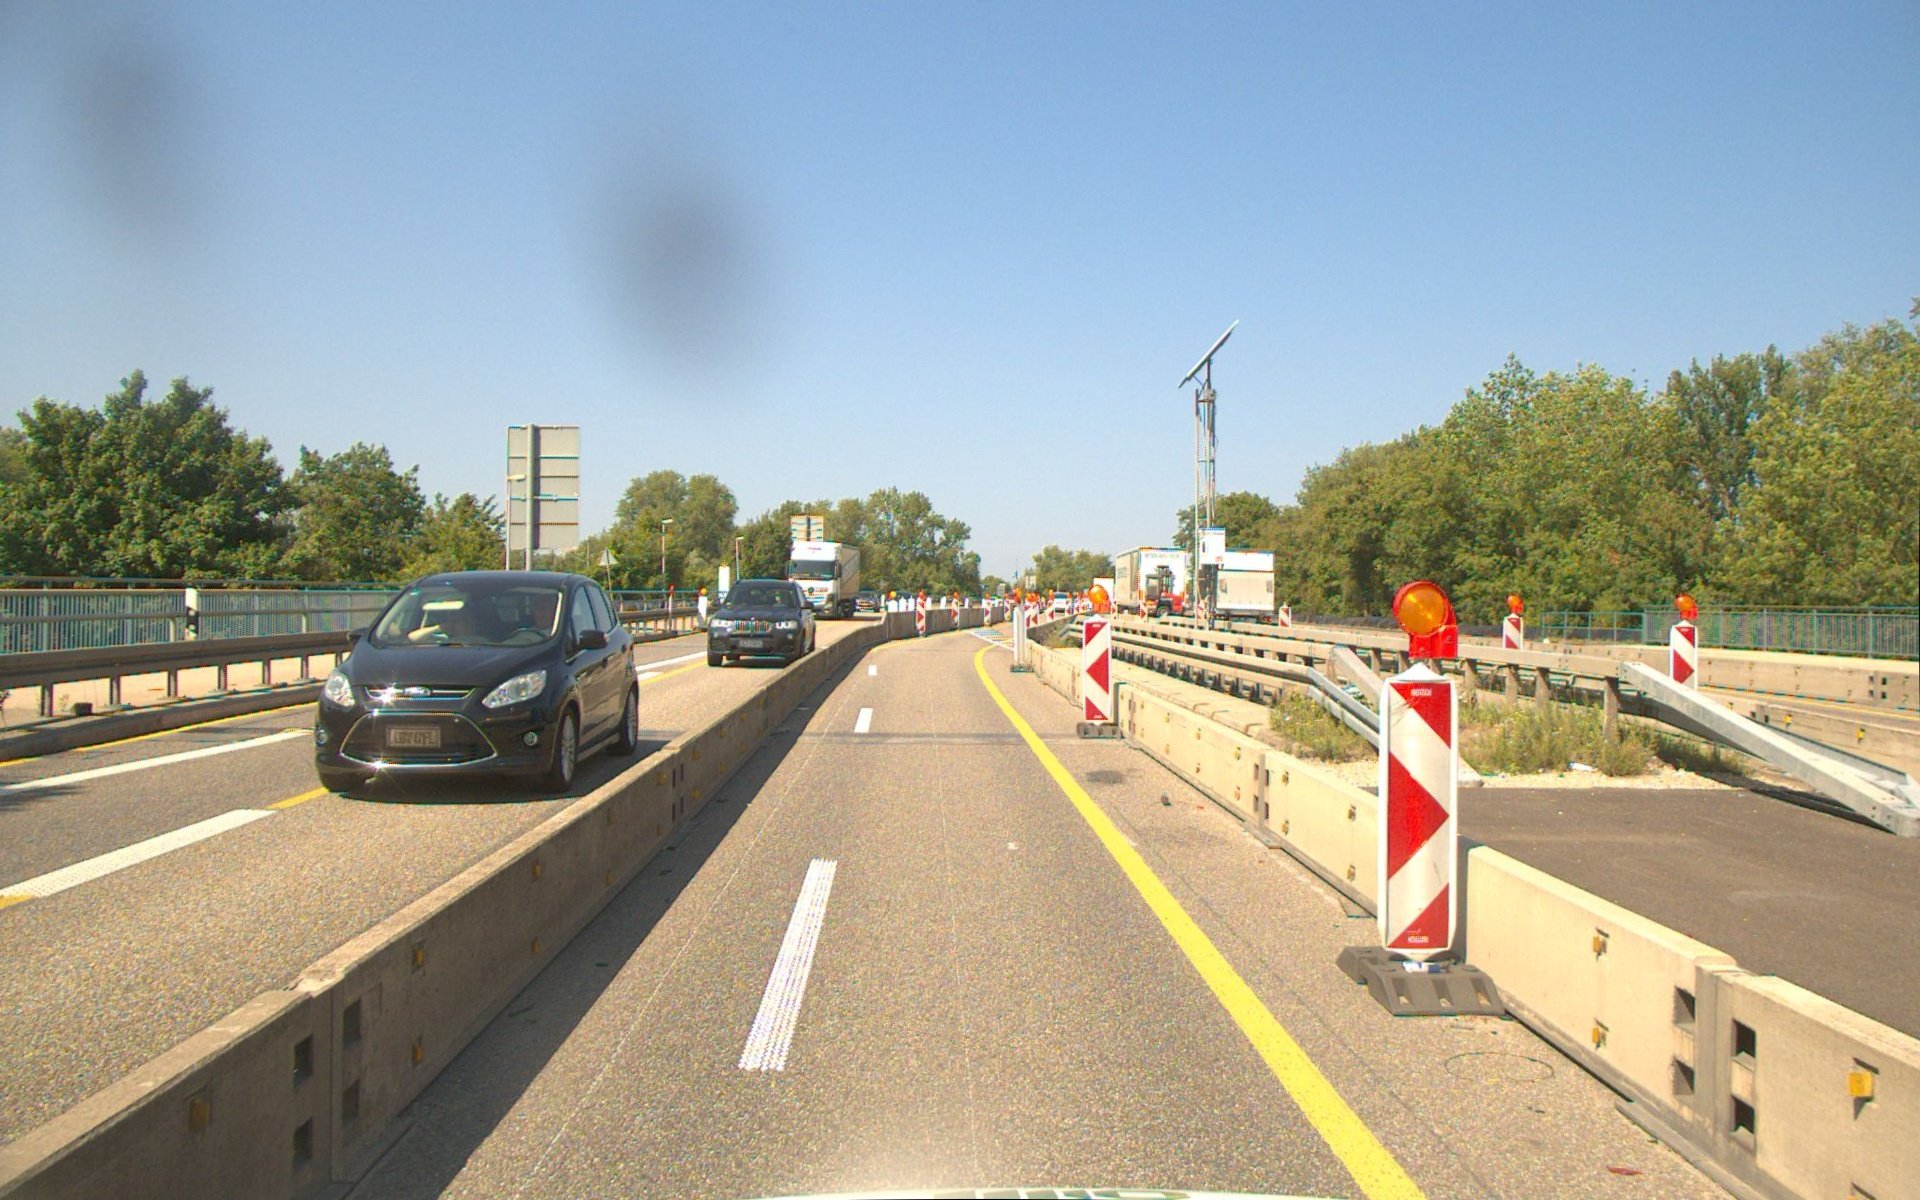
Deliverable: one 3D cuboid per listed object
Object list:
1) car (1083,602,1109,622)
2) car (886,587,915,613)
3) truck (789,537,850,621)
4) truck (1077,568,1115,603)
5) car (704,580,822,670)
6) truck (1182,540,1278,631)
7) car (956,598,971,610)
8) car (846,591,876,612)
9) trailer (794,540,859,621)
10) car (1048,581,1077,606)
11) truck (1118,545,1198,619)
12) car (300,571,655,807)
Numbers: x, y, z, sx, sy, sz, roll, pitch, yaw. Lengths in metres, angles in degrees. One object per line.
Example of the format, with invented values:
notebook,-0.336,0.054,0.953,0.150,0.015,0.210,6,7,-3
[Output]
car,12.145,1.056,147.864,1.953,1.807,3.999,0,0,-1
car,-3.819,-0.014,106.898,1.754,1.596,3.872,0,0,-1
truck,-7.304,-1.065,86.639,2.693,4.209,6.414,0,0,-1
truck,17.334,-1.863,210.936,4.133,4.341,10.242,0,0,1
car,-3.866,0.450,33.085,1.825,1.660,4.565,1,0,0
truck,10.959,-0.597,67.816,2.581,3.487,7.231,1,0,-1
car,0.443,0.477,207.965,1.701,1.502,4.646,0,0,1
car,-7.383,0.111,124.059,1.892,1.534,4.470,1,0,1
trailer,-7.420,-1.019,93.808,2.705,4.209,14.528,0,0,-1
car,7.422,-0.465,119.847,1.779,1.807,3.999,0,0,-1
truck,10.672,-0.928,89.889,3.319,3.840,7.231,0,0,-1
car,-3.621,0.595,13.156,1.703,1.579,3.942,1,0,-1
